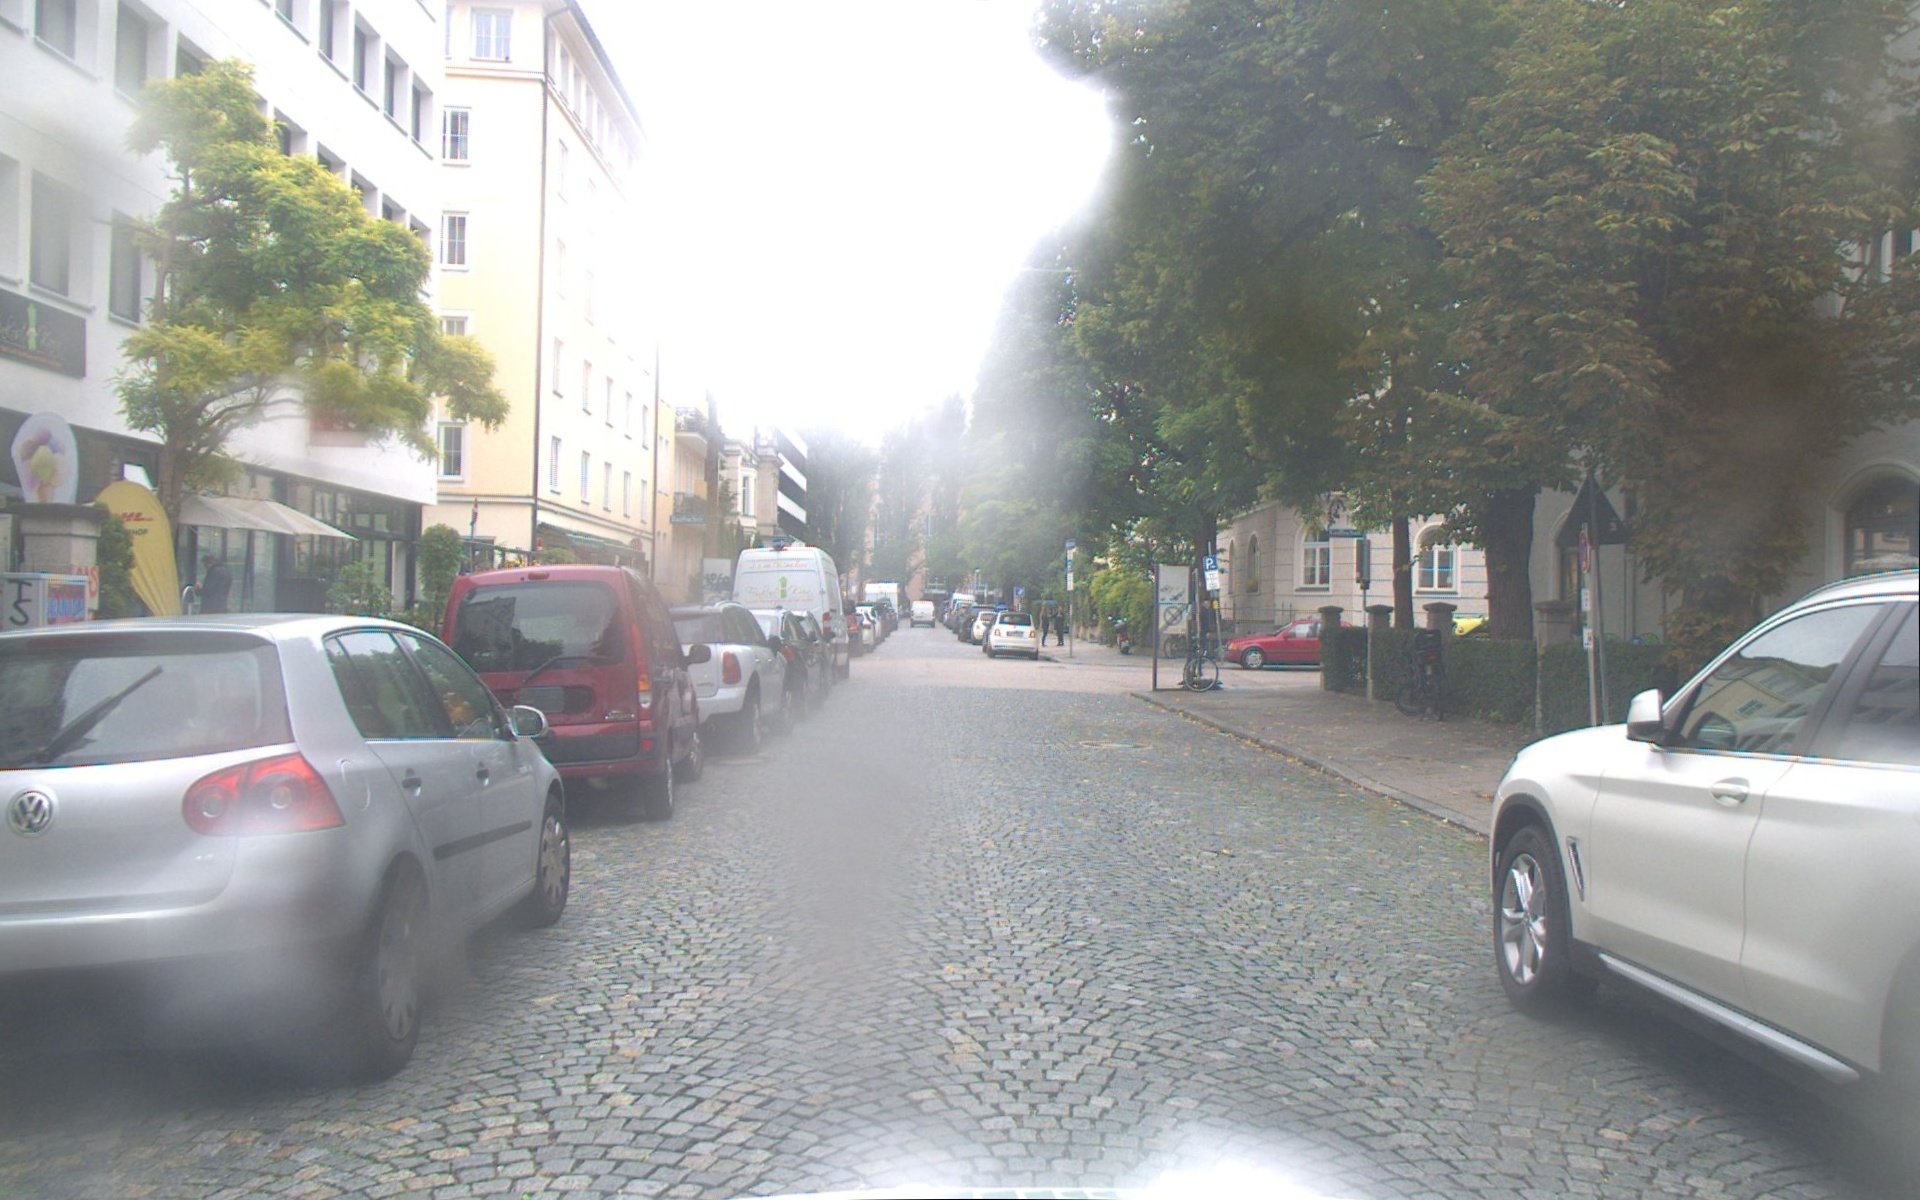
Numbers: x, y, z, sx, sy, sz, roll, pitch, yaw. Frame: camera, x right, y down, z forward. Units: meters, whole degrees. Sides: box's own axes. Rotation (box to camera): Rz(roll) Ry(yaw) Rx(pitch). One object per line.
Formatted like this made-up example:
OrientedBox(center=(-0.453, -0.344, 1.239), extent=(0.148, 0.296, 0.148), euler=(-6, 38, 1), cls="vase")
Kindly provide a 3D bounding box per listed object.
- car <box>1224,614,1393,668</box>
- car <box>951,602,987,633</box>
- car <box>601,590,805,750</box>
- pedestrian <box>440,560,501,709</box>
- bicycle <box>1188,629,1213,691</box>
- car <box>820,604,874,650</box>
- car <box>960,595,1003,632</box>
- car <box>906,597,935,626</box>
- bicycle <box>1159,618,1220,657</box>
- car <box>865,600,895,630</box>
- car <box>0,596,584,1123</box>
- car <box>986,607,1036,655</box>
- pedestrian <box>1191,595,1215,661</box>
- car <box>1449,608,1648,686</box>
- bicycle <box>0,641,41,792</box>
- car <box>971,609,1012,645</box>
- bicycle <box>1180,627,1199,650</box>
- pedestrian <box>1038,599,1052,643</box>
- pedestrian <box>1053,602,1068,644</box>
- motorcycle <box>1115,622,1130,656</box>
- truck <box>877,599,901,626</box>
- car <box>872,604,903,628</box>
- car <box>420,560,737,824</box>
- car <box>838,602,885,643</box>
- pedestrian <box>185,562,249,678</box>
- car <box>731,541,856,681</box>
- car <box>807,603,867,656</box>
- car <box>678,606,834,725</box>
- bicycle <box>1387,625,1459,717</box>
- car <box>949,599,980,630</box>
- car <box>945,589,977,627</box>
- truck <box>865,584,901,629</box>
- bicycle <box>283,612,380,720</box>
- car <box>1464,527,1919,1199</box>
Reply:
OrientedBox(center=(9.480, 1.113, 45.291), extent=(4.372, 1.382, 1.761), euler=(1, 0, 6), cls="car")
OrientedBox(center=(0.501, 1.056, 100.708), extent=(1.924, 1.790, 4.951), euler=(1, -1, -2), cls="car")
OrientedBox(center=(-2.714, 0.713, 18.198), extent=(1.658, 1.530, 3.776), euler=(1, -1, -1), cls="car")
OrientedBox(center=(-6.322, 0.444, 21.377), extent=(0.602, 1.872, 0.812), euler=(1, -1, -8), cls="pedestrian")
OrientedBox(center=(4.674, 1.149, 32.175), extent=(0.380, 1.167, 1.590), euler=(1, -1, 5), cls="bicycle")
OrientedBox(center=(-4.013, 0.942, 59.195), extent=(1.738, 1.563, 4.539), euler=(0, 0, -2), cls="car")
OrientedBox(center=(1.011, 0.658, 80.208), extent=(1.837, 1.702, 5.489), euler=(1, -1, -1), cls="car")
OrientedBox(center=(-2.823, 0.848, 119.281), extent=(1.956, 1.970, 3.999), euler=(1, -1, 0), cls="car")
OrientedBox(center=(7.040, 1.143, 50.673), extent=(1.798, 1.144, 0.563), euler=(0, 0, 12), cls="bicycle")
OrientedBox(center=(-4.904, 0.936, 101.245), extent=(1.738, 1.748, 4.388), euler=(1, -1, -3), cls="car")
OrientedBox(center=(-2.616, 0.722, 6.389), extent=(1.599, 1.418, 3.813), euler=(1, -1, -3), cls="car")
OrientedBox(center=(1.647, 1.017, 54.426), extent=(1.471, 1.497, 3.794), euler=(1, -1, -1), cls="car")
OrientedBox(center=(7.149, 0.820, 48.654), extent=(0.484, 1.909, 0.742), euler=(1, -1, -6), cls="pedestrian")
OrientedBox(center=(13.305, 1.045, 37.615), extent=(3.987, 1.625, 1.907), euler=(1, -1, 10), cls="car")
OrientedBox(center=(-7.237, 0.883, 12.060), extent=(0.252, 1.097, 1.684), euler=(1, 0, -5), cls="bicycle")
OrientedBox(center=(1.410, 1.230, 75.035), extent=(1.597, 1.495, 3.657), euler=(3, -1, -2), cls="car")
OrientedBox(center=(8.553, 1.432, 61.587), extent=(0.481, 0.826, 2.274), euler=(1, -1, 3), cls="bicycle")
OrientedBox(center=(3.660, 0.915, 71.271), extent=(0.563, 1.882, 0.682), euler=(0, 0, 6), cls="pedestrian")
OrientedBox(center=(4.385, 1.004, 71.967), extent=(0.615, 1.840, 0.660), euler=(1, -1, 5), cls="pedestrian")
OrientedBox(center=(5.411, 1.284, 55.217), extent=(0.355, 1.109, 1.403), euler=(1, -1, 1), cls="motorcycle")
OrientedBox(center=(-6.298, 1.124, 146.802), extent=(1.953, 2.388, 4.066), euler=(1, -1, -2), cls="truck")
OrientedBox(center=(-4.661, 1.057, 106.624), extent=(1.901, 1.485, 4.055), euler=(1, -1, -3), cls="car")
OrientedBox(center=(-2.805, 0.637, 12.998), extent=(1.683, 1.753, 3.897), euler=(0, -1, -2), cls="car")
OrientedBox(center=(-4.186, 0.955, 70.651), extent=(1.737, 1.676, 4.390), euler=(1, -1, -1), cls="car")
OrientedBox(center=(-11.023, 0.284, 24.565), extent=(0.544, 1.689, 0.783), euler=(2, 1, 1), cls="pedestrian")
OrientedBox(center=(-3.325, 0.243, 34.077), extent=(1.936, 2.619, 5.793), euler=(-1, -1, 0), cls="car")
OrientedBox(center=(-3.997, 0.962, 54.290), extent=(1.815, 1.614, 4.745), euler=(1, -1, -3), cls="car")
OrientedBox(center=(-2.791, 0.854, 23.506), extent=(1.690, 1.490, 4.472), euler=(-1, 0, -1), cls="car")
OrientedBox(center=(6.509, 0.971, 23.314), extent=(0.419, 1.219, 1.730), euler=(-4, -1, -1), cls="bicycle")
OrientedBox(center=(0.289, 0.988, 113.648), extent=(1.764, 1.983, 4.858), euler=(4, -1, -2), cls="car")
OrientedBox(center=(0.063, 0.557, 119.261), extent=(1.857, 2.468, 5.608), euler=(5, 0, -2), cls="car")
OrientedBox(center=(-5.494, 0.475, 117.977), extent=(2.458, 3.085, 6.381), euler=(-1, 0, -3), cls="truck")
OrientedBox(center=(-7.330, 0.748, 19.349), extent=(0.353, 1.195, 1.911), euler=(1, -1, 1), cls="bicycle")
OrientedBox(center=(3.182, 0.724, 4.934), extent=(1.881, 1.715, 4.632), euler=(1, -1, -1), cls="car")
